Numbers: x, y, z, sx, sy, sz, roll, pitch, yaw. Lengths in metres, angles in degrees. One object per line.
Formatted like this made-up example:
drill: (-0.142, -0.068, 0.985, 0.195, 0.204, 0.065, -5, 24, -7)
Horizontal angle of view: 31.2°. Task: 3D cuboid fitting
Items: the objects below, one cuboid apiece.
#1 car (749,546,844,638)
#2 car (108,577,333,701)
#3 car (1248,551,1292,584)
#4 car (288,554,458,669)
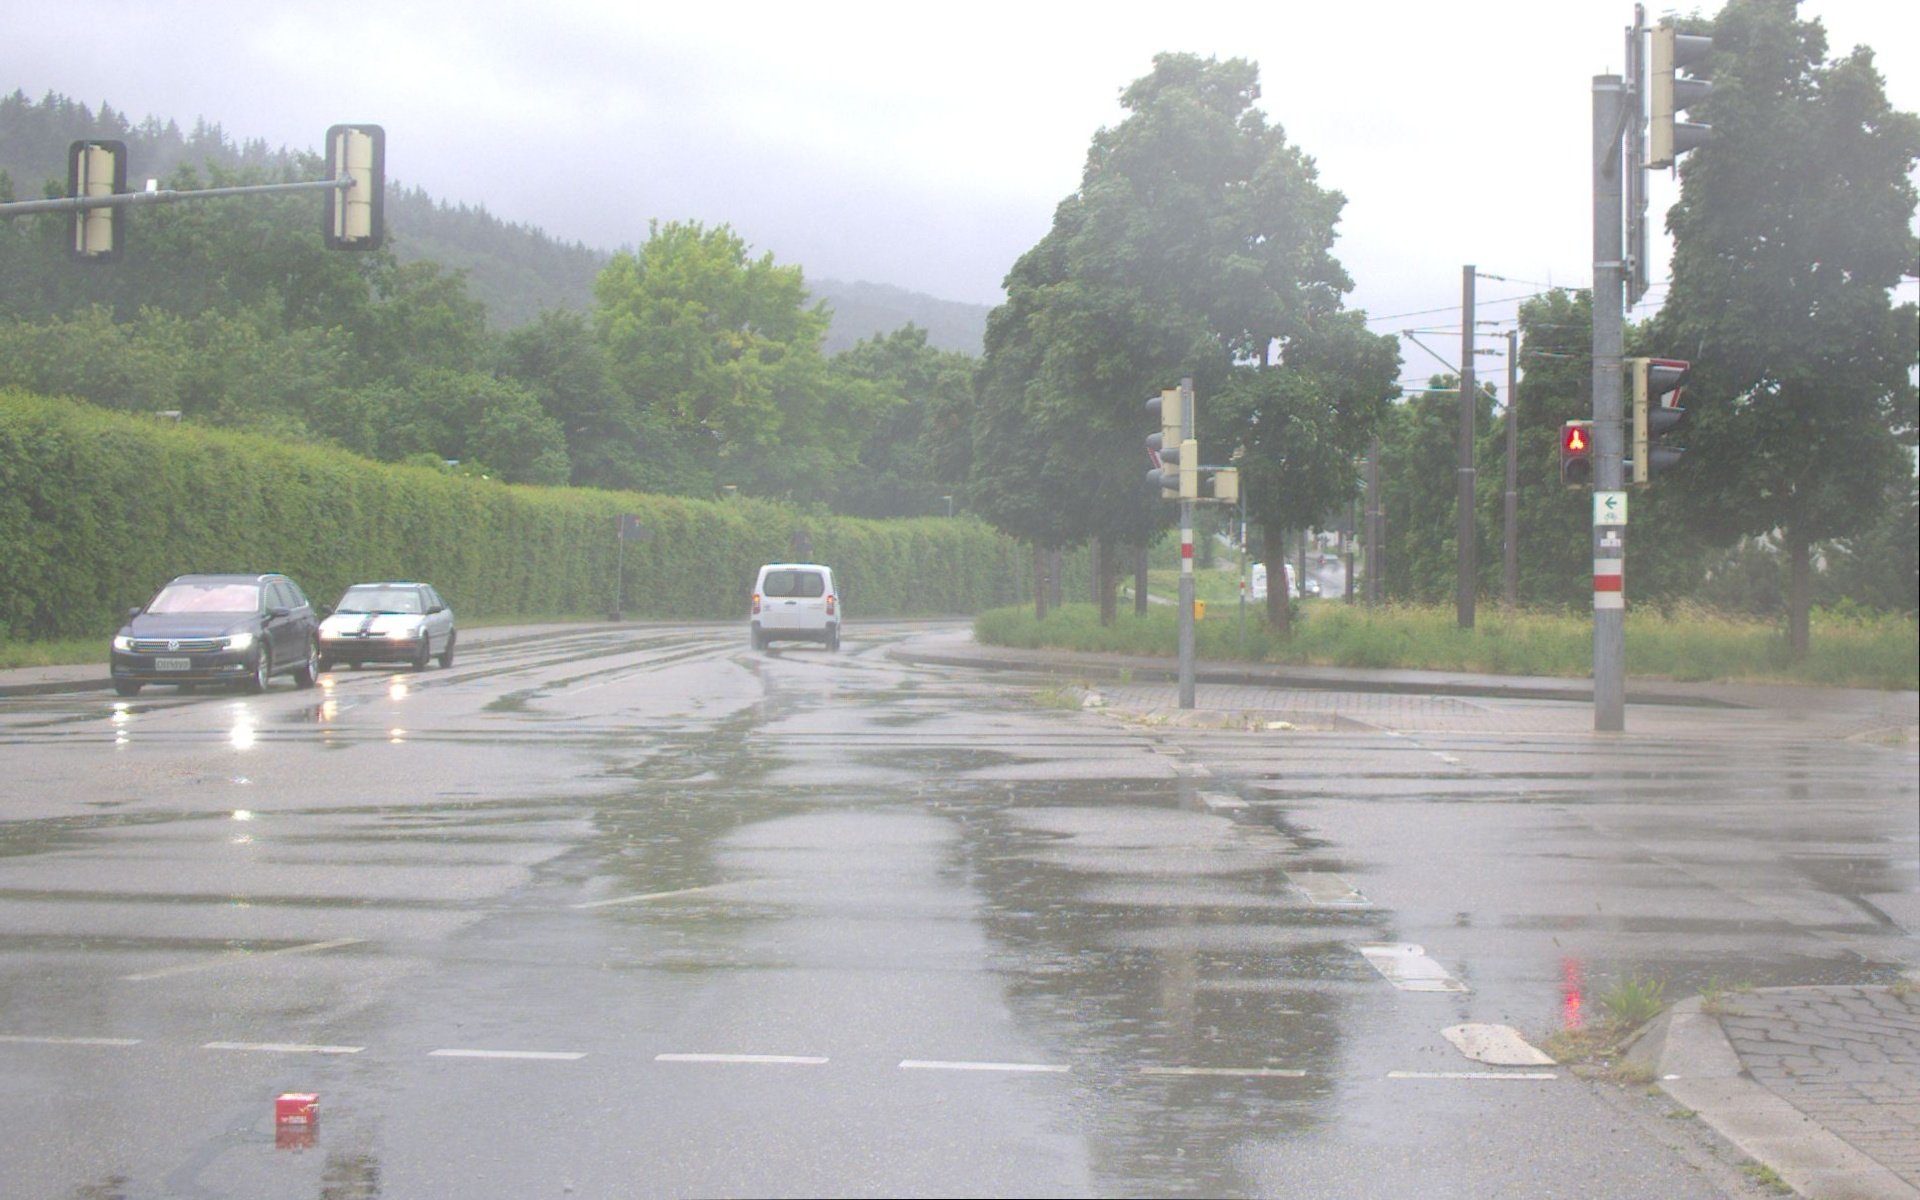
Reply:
car: (-3.467, -0.194, 73.179, 1.953, 1.897, 4.120, 0, 1, -2)
car: (-9.281, 0.451, 43.481, 1.709, 1.461, 4.452, 0, 1, 3)
car: (17.955, -1.875, 198.733, 1.933, 1.883, 4.059, 0, 1, 14)
car: (-9.249, 0.153, 54.487, 2.036, 1.702, 4.066, 1, 1, -1)
